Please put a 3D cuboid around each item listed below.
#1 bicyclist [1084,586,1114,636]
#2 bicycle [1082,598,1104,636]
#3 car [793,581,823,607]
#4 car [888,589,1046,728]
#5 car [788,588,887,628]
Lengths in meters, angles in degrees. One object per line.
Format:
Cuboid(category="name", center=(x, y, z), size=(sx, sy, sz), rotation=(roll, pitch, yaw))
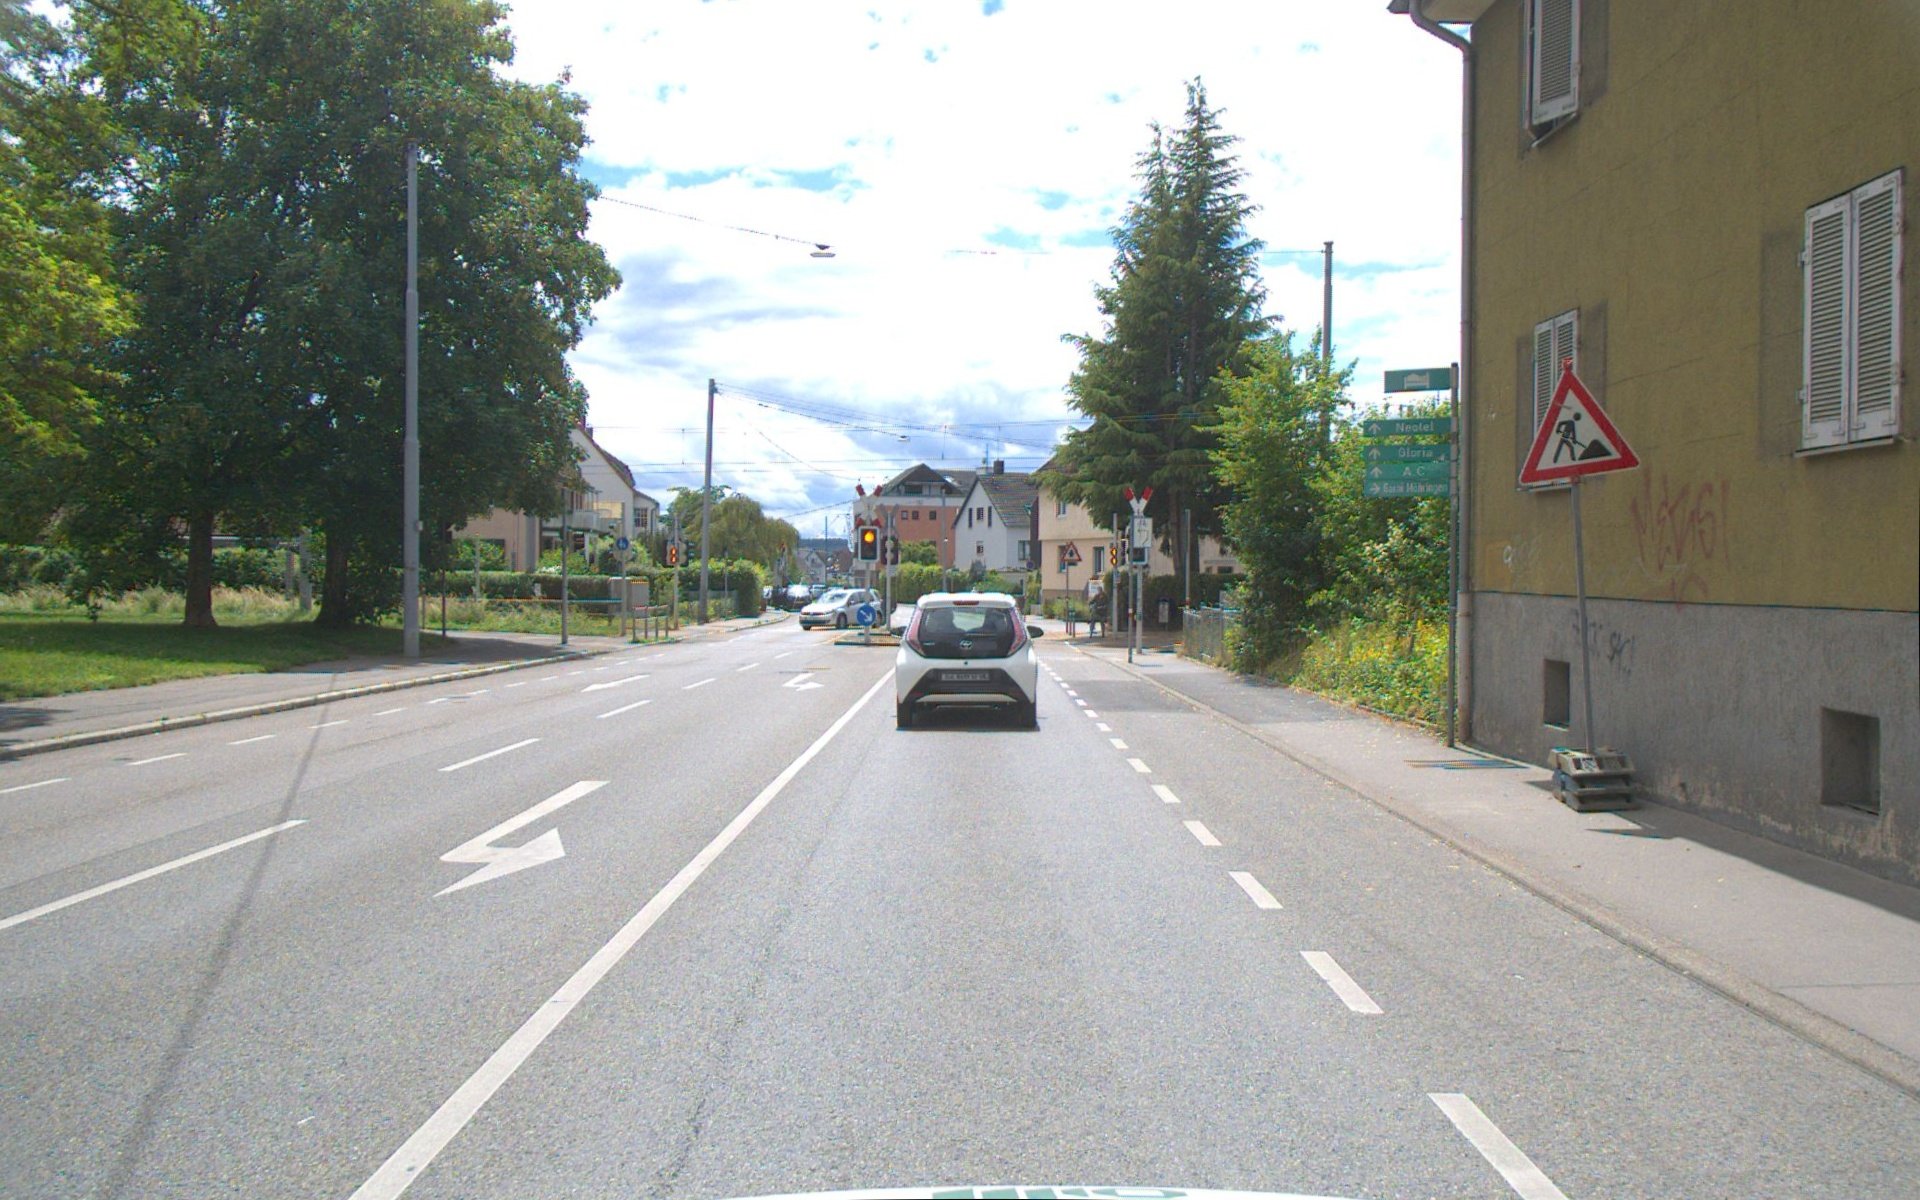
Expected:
Cuboid(category="bicyclist", center=(4.657, 0.363, 55.335), size=(0.824, 1.580, 0.755), rotation=(-3, 3, -5))
Cuboid(category="bicycle", center=(4.444, 0.565, 55.414), size=(0.448, 1.192, 1.478), rotation=(-3, 3, -5))
Cuboid(category="car", center=(-10.537, -0.430, 114.565), size=(1.955, 1.749, 3.995), rotation=(1, 0, -6))
Cuboid(category="car", center=(0.111, 0.624, 19.716), size=(1.685, 1.467, 3.709), rotation=(1, 0, 1))
Cuboid(category="car", center=(-4.663, 0.320, 63.651), size=(1.869, 1.466, 4.092), rotation=(1, 0, 28))
